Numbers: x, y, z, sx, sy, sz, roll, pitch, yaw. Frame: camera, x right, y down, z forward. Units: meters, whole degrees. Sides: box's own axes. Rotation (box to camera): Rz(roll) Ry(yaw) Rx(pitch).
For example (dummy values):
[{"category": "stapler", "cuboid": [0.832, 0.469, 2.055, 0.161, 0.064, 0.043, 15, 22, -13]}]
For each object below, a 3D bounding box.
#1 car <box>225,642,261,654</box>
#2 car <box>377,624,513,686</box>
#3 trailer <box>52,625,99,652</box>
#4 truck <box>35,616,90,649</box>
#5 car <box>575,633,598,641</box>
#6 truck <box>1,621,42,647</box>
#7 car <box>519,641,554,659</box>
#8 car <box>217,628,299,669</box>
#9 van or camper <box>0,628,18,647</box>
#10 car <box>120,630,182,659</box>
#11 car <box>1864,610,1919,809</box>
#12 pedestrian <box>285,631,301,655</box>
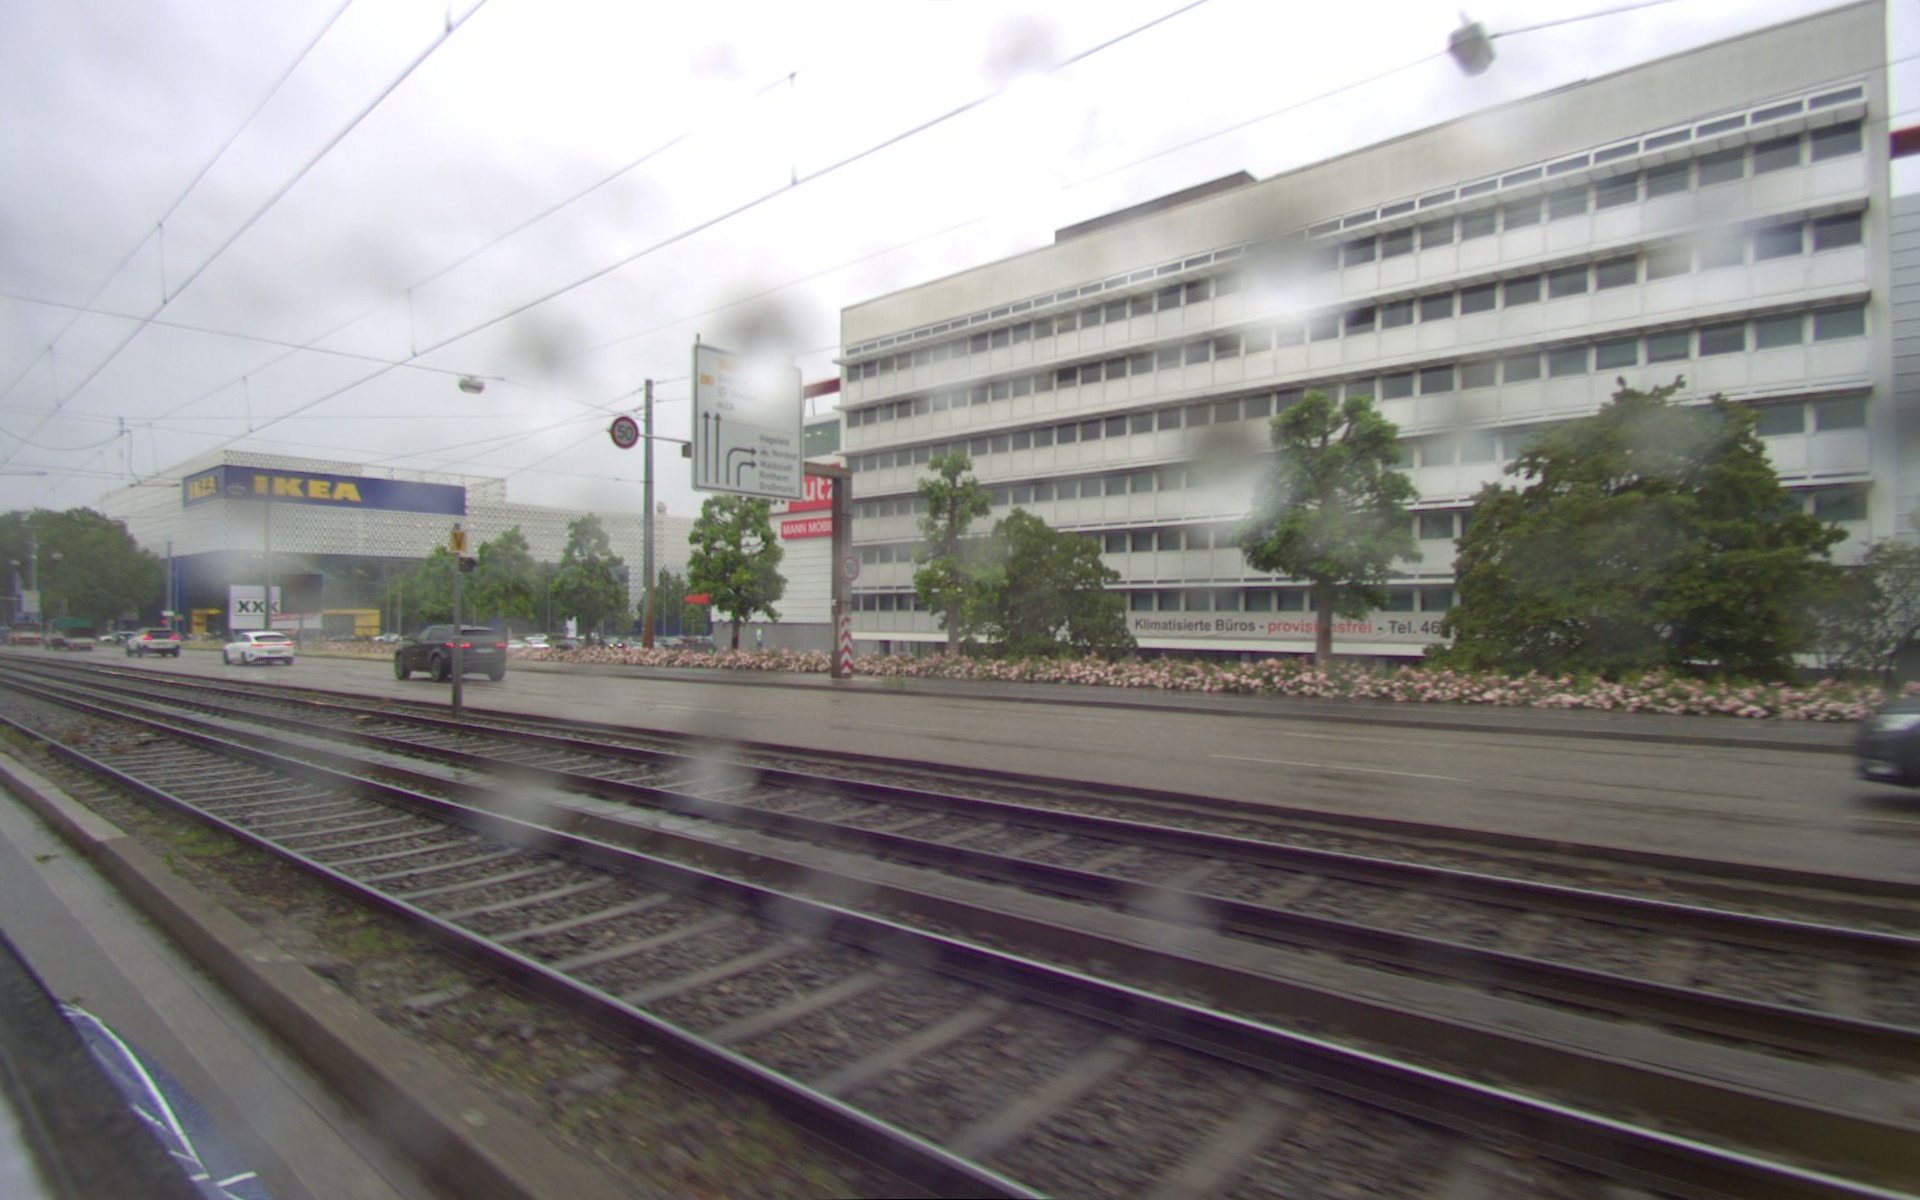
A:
[{"category": "car", "cuboid": [-106.228, 7.108, 149.945, 1.999, 1.615, 4.054, -1, 0, 41]}, {"category": "car", "cuboid": [-15.680, 1.636, 30.705, 4.879, 1.734, 1.973, -2, -3, 41]}, {"category": "trailer", "cuboid": [-65.632, 2.849, 75.062, 3.834, 1.806, 2.097, -2, 1, 41]}, {"category": "truck", "cuboid": [-70.036, 2.538, 78.925, 7.217, 2.476, 2.409, -2, -3, 42]}, {"category": "car", "cuboid": [-71.543, 7.052, 193.736, 1.602, 1.417, 3.771, -1, 0, 43]}, {"category": "truck", "cuboid": [-91.176, 3.291, 98.298, 6.064, 2.480, 2.204, -2, -4, 41]}, {"category": "car", "cuboid": [-50.555, 5.975, 120.781, 4.085, 2.029, 1.975, -2, 1, 38]}, {"category": "car", "cuboid": [-30.402, 2.059, 43.761, 4.685, 1.695, 1.753, -2, -2, 40]}, {"category": "van or camper", "cuboid": [-105.659, 4.123, 111.421, 5.684, 2.029, 2.280, -1, -2, 42]}, {"category": "car", "cuboid": [-45.949, 2.513, 57.463, 4.764, 1.595, 1.972, -2, -3, 42]}, {"category": "car", "cuboid": [9.870, 0.871, 7.829, 4.252, 1.630, 1.972, -2, -2, 42]}, {"category": "pedestrian", "cuboid": [-53.257, 3.424, 80.824, 1.050, 1.775, 0.814, -1, 2, 43]}]
